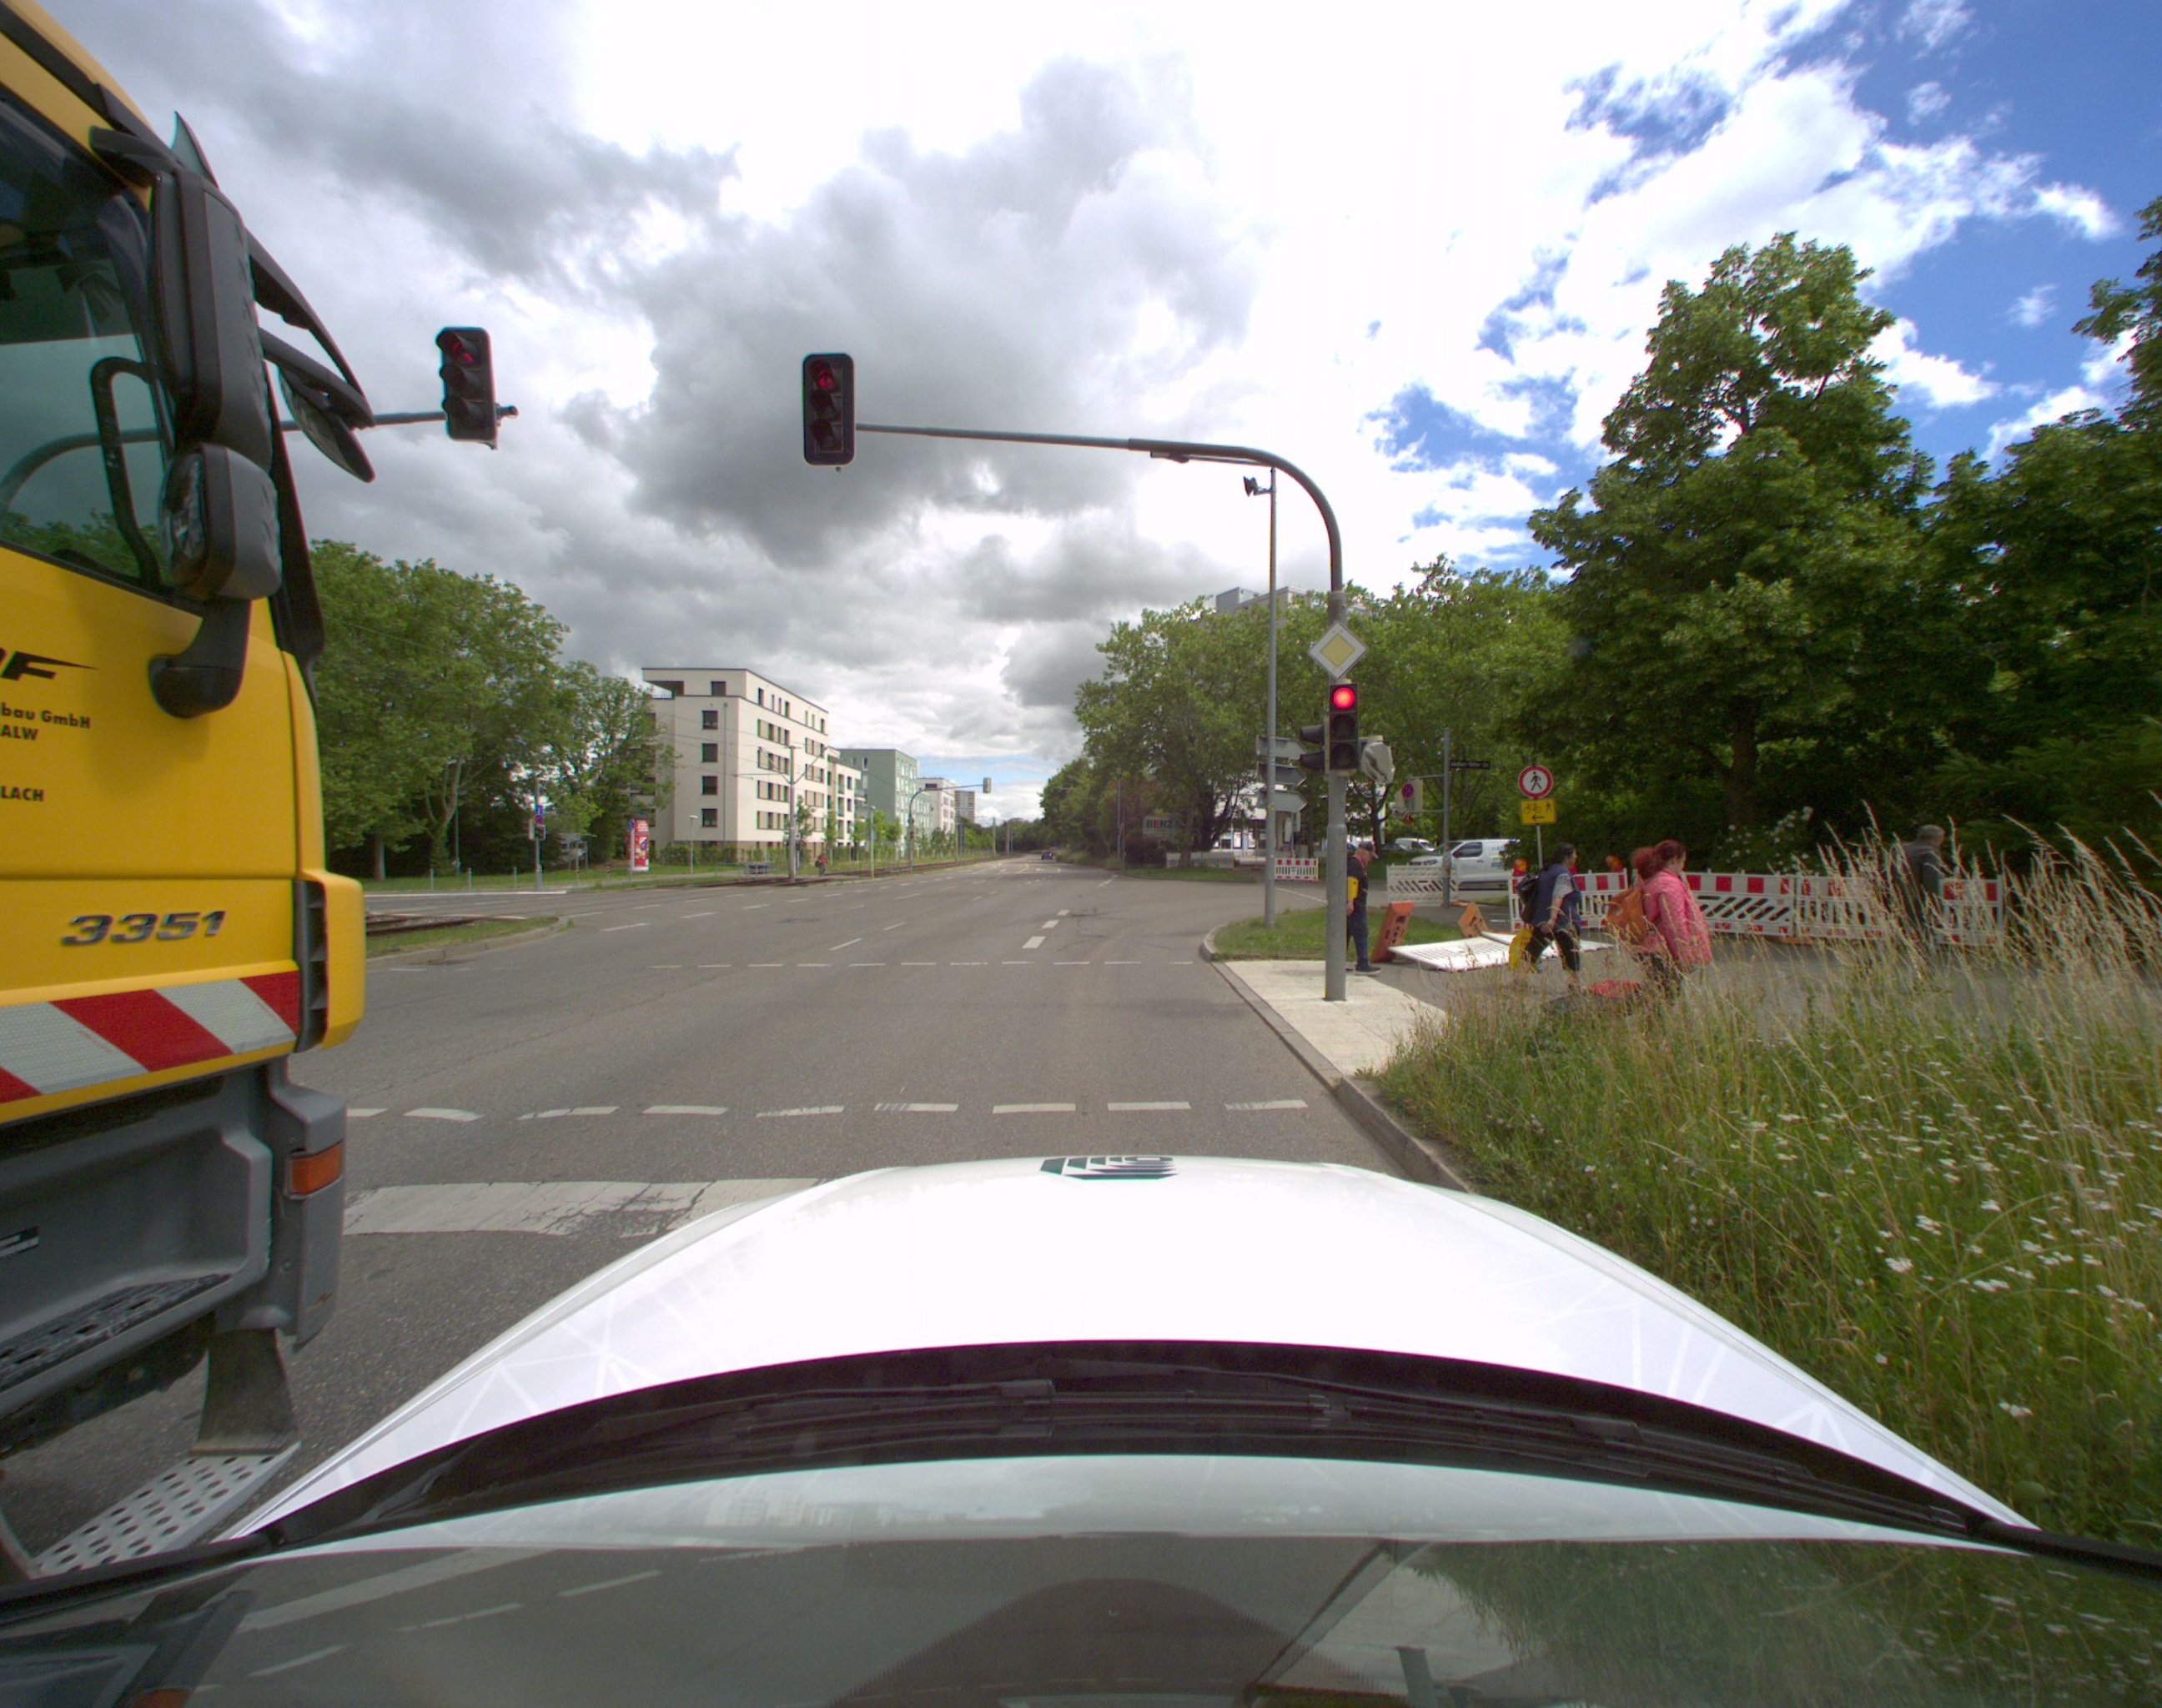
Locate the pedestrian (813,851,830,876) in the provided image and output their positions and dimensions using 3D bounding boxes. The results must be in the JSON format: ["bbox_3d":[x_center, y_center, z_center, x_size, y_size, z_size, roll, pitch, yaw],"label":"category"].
[{"bbox_3d":[-16.164,0.570,50.665,0.827,1.516,0.636,-1,0,1],"label":"pedestrian"}]

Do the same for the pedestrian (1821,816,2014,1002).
[{"bbox_3d":[8.442,0.522,8.269,0.998,1.773,0.930,-1,0,2],"label":"pedestrian"}]

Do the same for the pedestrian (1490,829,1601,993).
[{"bbox_3d":[4.846,0.558,8.573,0.904,1.607,0.934,-1,0,23],"label":"pedestrian"}]

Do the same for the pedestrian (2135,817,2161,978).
[{"bbox_3d":[12.065,0.468,8.604,0.778,1.742,0.829,-1,0,4],"label":"pedestrian"}]

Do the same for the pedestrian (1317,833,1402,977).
[{"bbox_3d":[3.286,0.565,9.616,0.885,1.596,0.912,-1,0,19],"label":"pedestrian"}]

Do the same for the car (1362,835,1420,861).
[{"bbox_3d":[24.602,-0.492,64.725,2.006,2.013,3.962,-1,0,-29],"label":"car"}]

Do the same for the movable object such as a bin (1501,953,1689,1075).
[{"bbox_3d":[3.424,1.054,5.501,0.792,0.662,0.778,-1,0,2],"label":"movable object such as a bin"}]

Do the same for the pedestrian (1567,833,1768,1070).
[{"bbox_3d":[4.078,0.641,5.730,0.877,1.554,0.747,-1,0,2],"label":"pedestrian"}]

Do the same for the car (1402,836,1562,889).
[{"bbox_3d":[14.917,0.302,30.450,5.063,1.874,1.947,-1,0,-2],"label":"car"}]

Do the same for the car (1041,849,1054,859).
[{"bbox_3d":[-5.566,-0.015,134.758,1.978,1.486,4.485,-1,0,-4],"label":"car"}]

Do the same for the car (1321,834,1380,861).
[{"bbox_3d":[20.571,-0.484,62.245,2.006,2.013,3.962,-1,0,-29],"label":"car"}]

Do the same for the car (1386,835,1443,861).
[{"bbox_3d":[27.317,-0.495,66.859,2.006,2.013,3.962,-1,0,-29],"label":"car"}]
